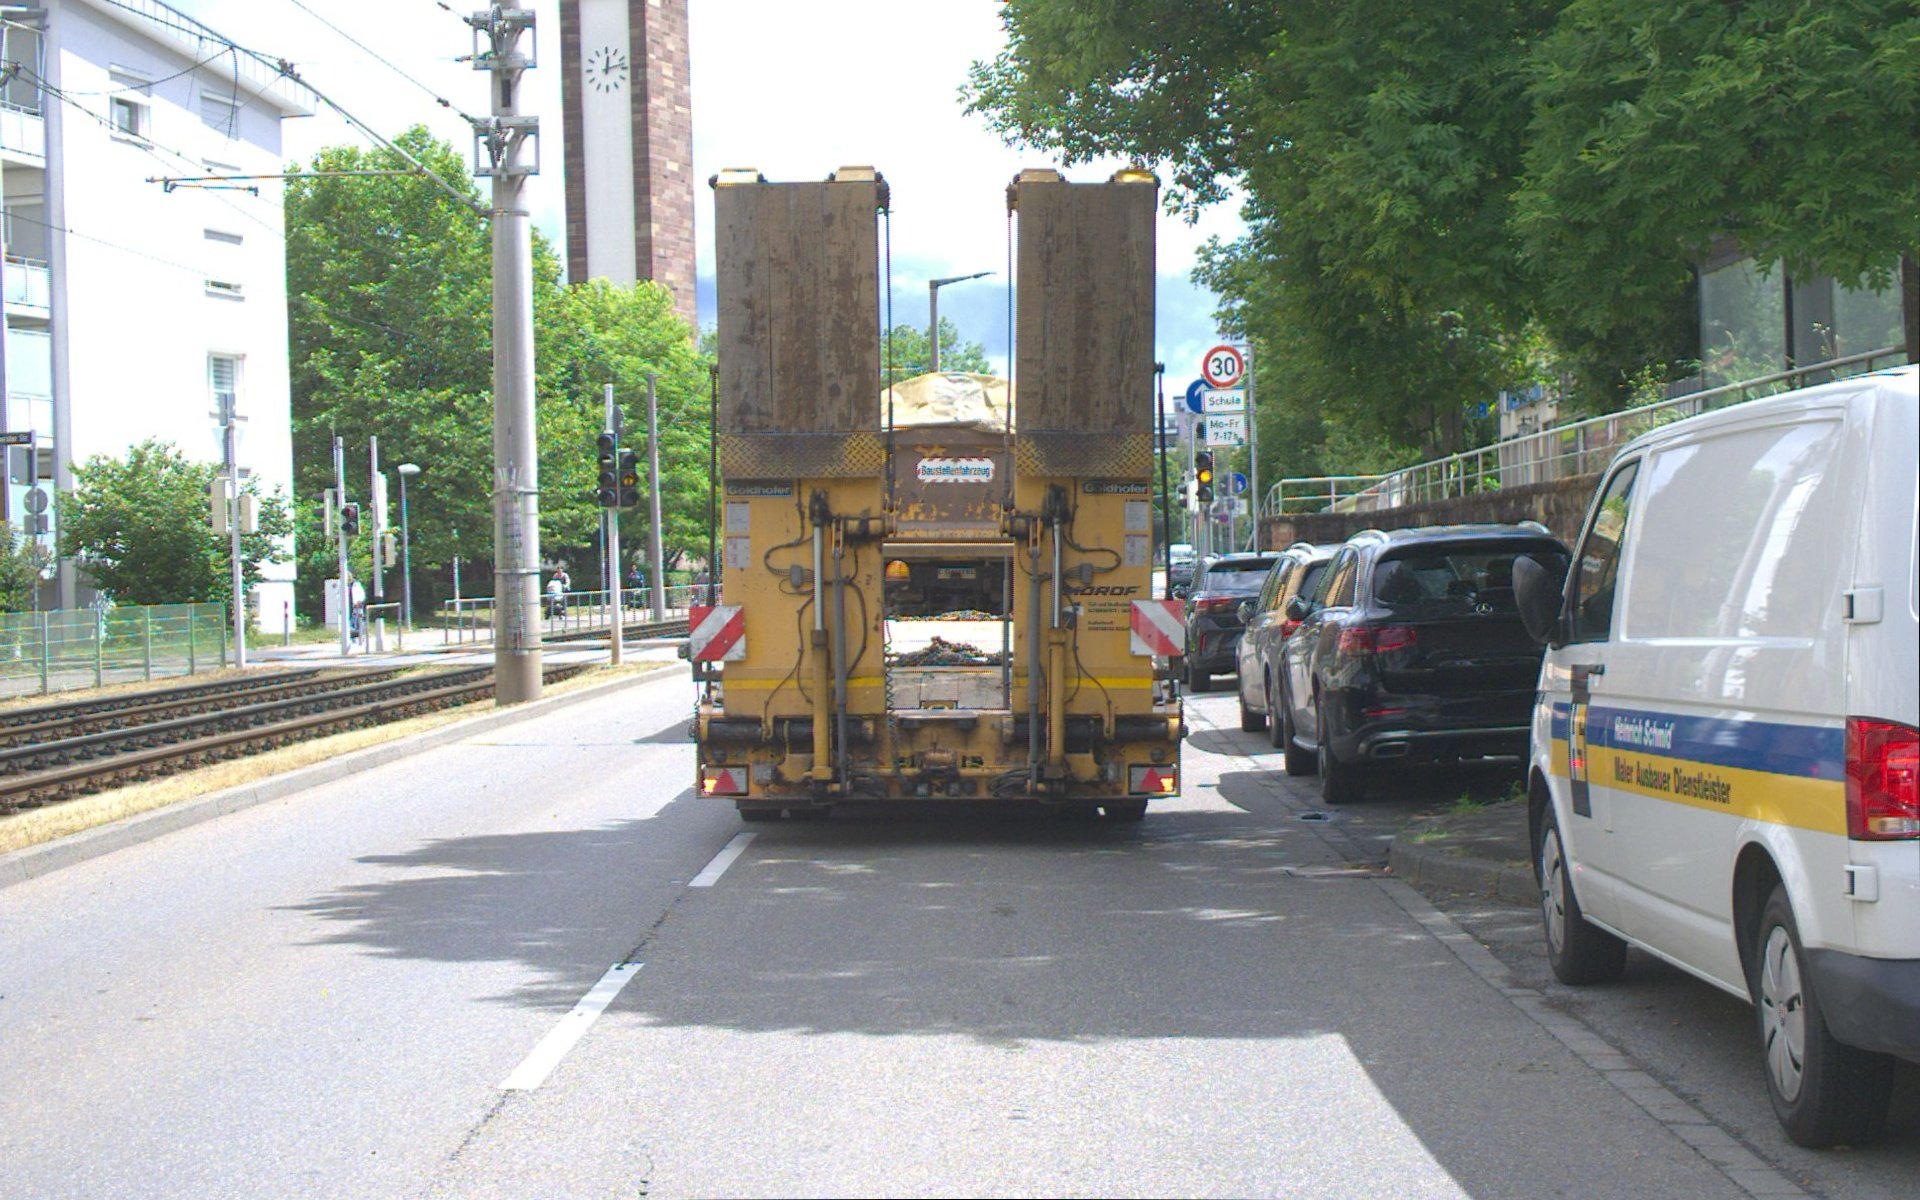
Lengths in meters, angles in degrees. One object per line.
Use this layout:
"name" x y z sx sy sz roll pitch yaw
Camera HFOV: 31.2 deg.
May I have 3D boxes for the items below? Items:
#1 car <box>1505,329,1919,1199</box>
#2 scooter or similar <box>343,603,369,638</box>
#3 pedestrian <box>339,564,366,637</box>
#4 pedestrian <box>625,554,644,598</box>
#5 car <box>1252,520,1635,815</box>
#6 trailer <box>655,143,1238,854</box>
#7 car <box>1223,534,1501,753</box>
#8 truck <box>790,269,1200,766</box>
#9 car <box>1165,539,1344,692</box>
"car" 2.954 0.341 10.102 1.973 1.963 5.013 -1 1 1
"scooter or similar" -12.911 0.433 73.475 0.438 0.745 0.474 0 0 7
"pedestrian" -13.068 0.007 73.969 0.438 1.575 0.474 0 0 6
"pedestrian" -11.277 -0.847 119.104 0.564 1.508 0.646 1 0 1
"car" 2.976 0.367 22.038 1.790 1.612 4.448 -3 1 1
"trailer" 0.106 -0.560 21.760 2.945 3.589 8.683 0 1 2
"car" 3.247 0.312 28.527 1.790 1.612 4.249 -2 1 1
"truck" 0.333 -0.621 27.198 2.943 3.560 4.876 0 1 2
"car" 3.402 0.158 40.345 1.851 1.633 4.000 -2 0 2
